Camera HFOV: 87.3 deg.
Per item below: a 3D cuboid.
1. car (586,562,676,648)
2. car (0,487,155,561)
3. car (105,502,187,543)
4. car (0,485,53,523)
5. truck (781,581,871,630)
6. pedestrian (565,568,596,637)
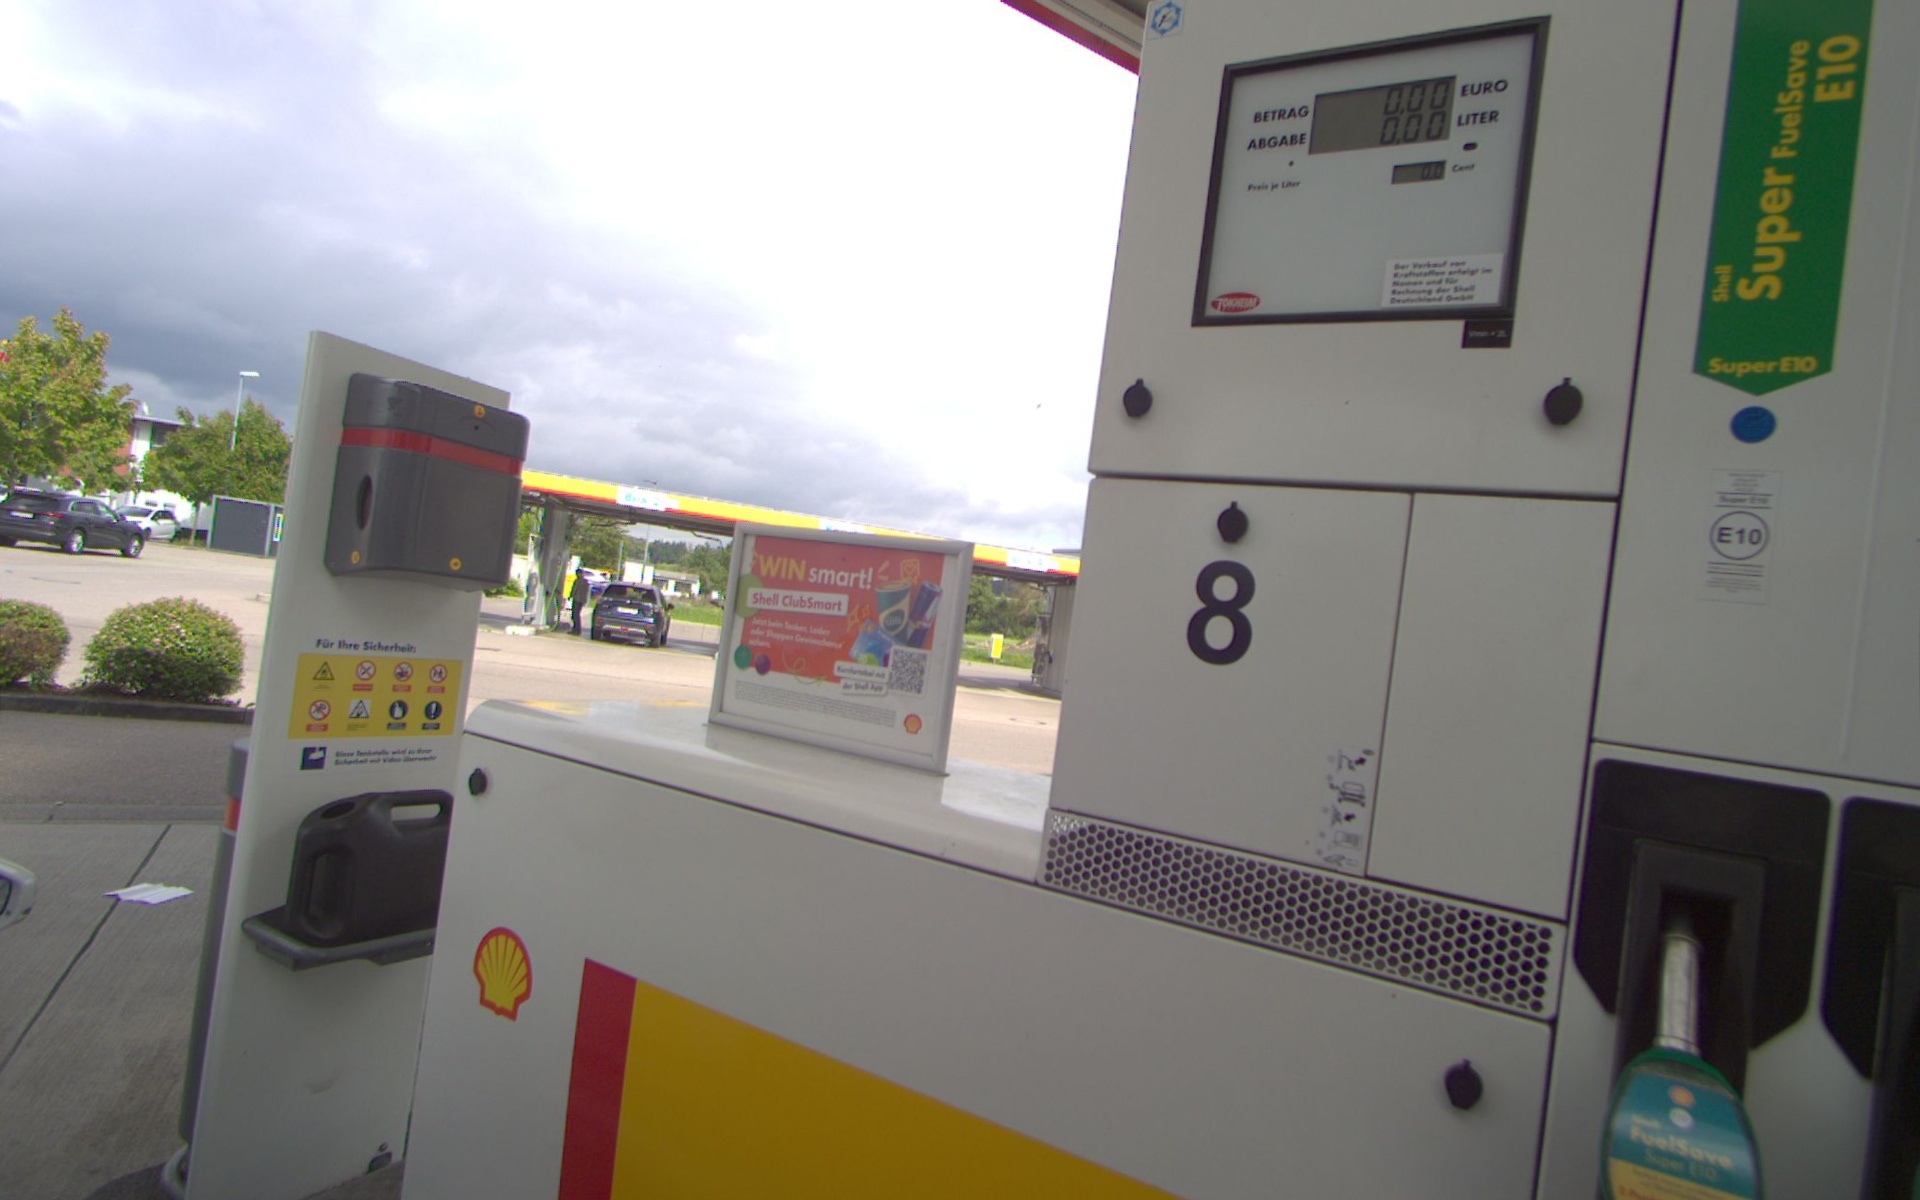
[{"bbox_3d":[-8.691,0.149,26.864,1.696,1.919,3.800,8,-2,-12],"label":"car"},{"bbox_3d":[-25.923,-2.167,29.263,1.855,1.566,4.498,8,-2,-10],"label":"car"},{"bbox_3d":[-35.252,-3.341,43.648,1.346,1.322,3.098,8,-2,-12],"label":"car"},{"bbox_3d":[-57.352,-5.904,60.245,2.149,1.854,4.870,8,-2,-11],"label":"car"},{"bbox_3d":[-13.005,0.540,97.508,7.978,3.575,2.687,8,-2,-19],"label":"truck"},{"bbox_3d":[-10.001,0.074,26.502,0.550,1.742,0.526,7,-1,-21],"label":"pedestrian"}]
